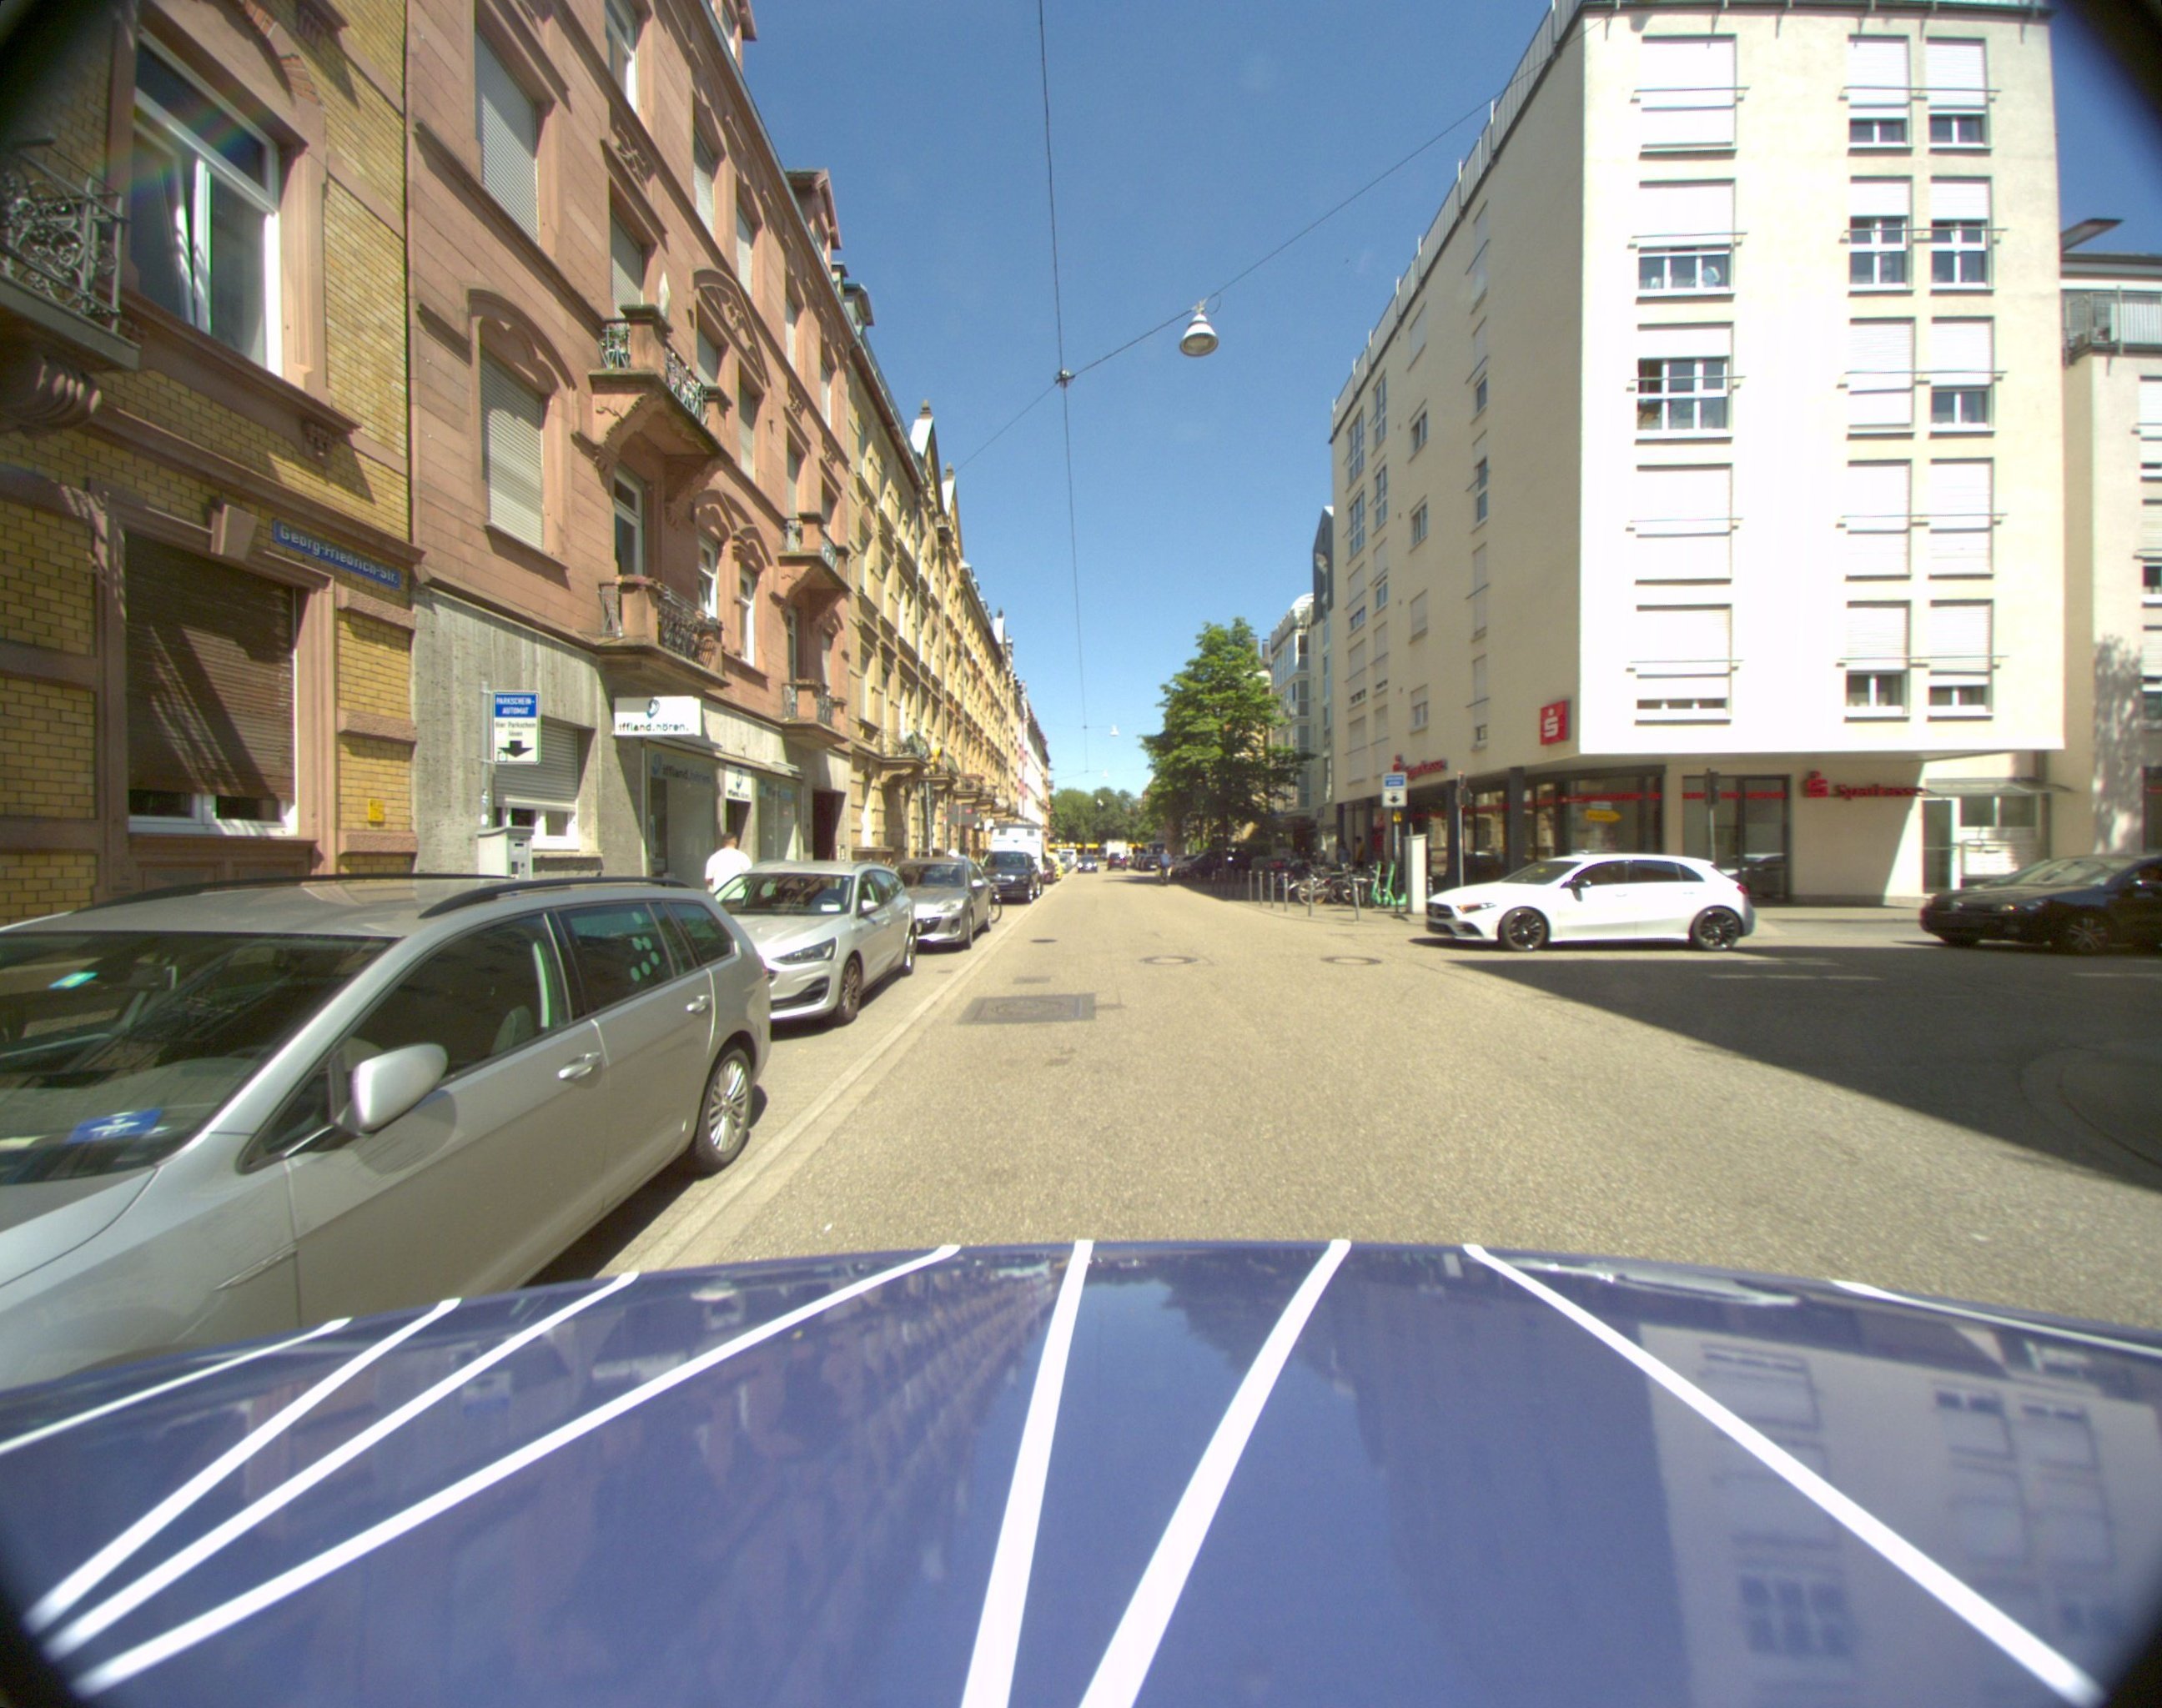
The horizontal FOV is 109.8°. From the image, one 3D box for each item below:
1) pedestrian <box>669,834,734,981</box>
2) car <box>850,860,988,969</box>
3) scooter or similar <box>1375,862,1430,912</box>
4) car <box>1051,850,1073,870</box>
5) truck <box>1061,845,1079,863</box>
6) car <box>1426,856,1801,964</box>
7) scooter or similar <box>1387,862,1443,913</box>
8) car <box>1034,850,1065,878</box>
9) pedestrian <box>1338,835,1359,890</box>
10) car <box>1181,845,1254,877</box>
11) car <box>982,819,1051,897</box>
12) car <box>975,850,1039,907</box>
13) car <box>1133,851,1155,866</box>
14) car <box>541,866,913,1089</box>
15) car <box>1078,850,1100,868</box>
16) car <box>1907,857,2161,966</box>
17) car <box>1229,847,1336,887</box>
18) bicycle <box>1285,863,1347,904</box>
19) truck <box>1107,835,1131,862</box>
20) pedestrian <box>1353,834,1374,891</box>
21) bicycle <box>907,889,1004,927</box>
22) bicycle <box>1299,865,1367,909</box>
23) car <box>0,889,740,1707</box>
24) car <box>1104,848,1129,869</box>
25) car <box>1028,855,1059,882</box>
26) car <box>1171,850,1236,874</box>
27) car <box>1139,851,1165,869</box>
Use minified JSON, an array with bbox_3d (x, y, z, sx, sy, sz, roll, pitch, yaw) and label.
[{"bbox_3d":[-4.983,0.692,9.982,0.635,1.903,0.370,-1,1,1],"label":"pedestrian"},{"bbox_3d":[-2.530,0.872,12.676,1.603,1.454,3.688,-1,1,-2],"label":"car"},{"bbox_3d":[7.625,0.770,18.043,1.192,1.161,0.289,-1,1,-1],"label":"scooter or similar"},{"bbox_3d":[-1.597,0.478,62.309,1.682,1.528,3.999,-1,1,-2],"label":"car"},{"bbox_3d":[-1.248,-0.027,90.217,1.998,2.002,4.902,-1,0,1],"label":"truck"},{"bbox_3d":[7.612,0.764,11.207,4.238,1.417,1.815,-1,1,2],"label":"car"},{"bbox_3d":[7.752,0.768,17.653,1.192,1.161,0.289,-1,1,-1],"label":"scooter or similar"},{"bbox_3d":[-1.860,0.552,44.709,1.682,1.528,3.999,-1,1,-2],"label":"car"},{"bbox_3d":[10.417,0.322,29.552,0.495,2.113,0.608,-1,1,-19],"label":"pedestrian"},{"bbox_3d":[7.773,0.374,43.403,3.885,1.737,1.652,-1,1,0],"label":"car"},{"bbox_3d":[-2.359,0.110,29.315,2.067,2.687,5.038,-2,1,1],"label":"car"},{"bbox_3d":[-2.192,0.678,23.410,1.682,1.528,3.999,-1,1,-2],"label":"car"},{"bbox_3d":[6.707,0.466,81.661,1.998,1.505,3.999,-2,1,1],"label":"car"},{"bbox_3d":[-2.988,0.921,7.482,1.830,1.452,3.999,-1,1,-2],"label":"car"},{"bbox_3d":[0.721,0.405,65.125,1.780,1.460,3.999,-2,1,1],"label":"car"},{"bbox_3d":[14.946,0.779,10.968,3.887,1.417,1.816,-1,1,5],"label":"car"},{"bbox_3d":[8.107,0.502,30.805,3.885,1.520,1.652,-1,1,0],"label":"car"},{"bbox_3d":[6.628,0.833,21.449,1.608,1.084,0.371,-2,1,6],"label":"bicycle"},{"bbox_3d":[4.591,-0.648,93.235,2.763,3.270,4.957,-1,1,1],"label":"truck"},{"bbox_3d":[10.654,0.323,28.661,0.608,2.113,0.496,0,1,36],"label":"pedestrian"},{"bbox_3d":[-2.666,1.152,16.231,1.965,0.772,0.568,-1,1,5],"label":"bicycle"},{"bbox_3d":[6.586,0.852,19.879,1.608,1.084,0.371,-2,1,6],"label":"bicycle"},{"bbox_3d":[-2.563,0.946,2.053,1.766,1.441,3.903,-1,1,-5],"label":"car"},{"bbox_3d":[3.181,0.383,68.924,1.998,1.674,3.999,-2,1,1],"label":"car"},{"bbox_3d":[-1.930,0.721,39.821,1.533,1.293,3.685,-1,1,-2],"label":"car"},{"bbox_3d":[7.841,0.515,48.896,3.885,1.487,1.652,-1,1,0],"label":"car"},{"bbox_3d":[6.213,0.477,66.667,1.998,1.505,4.000,-1,0,1],"label":"car"}]
